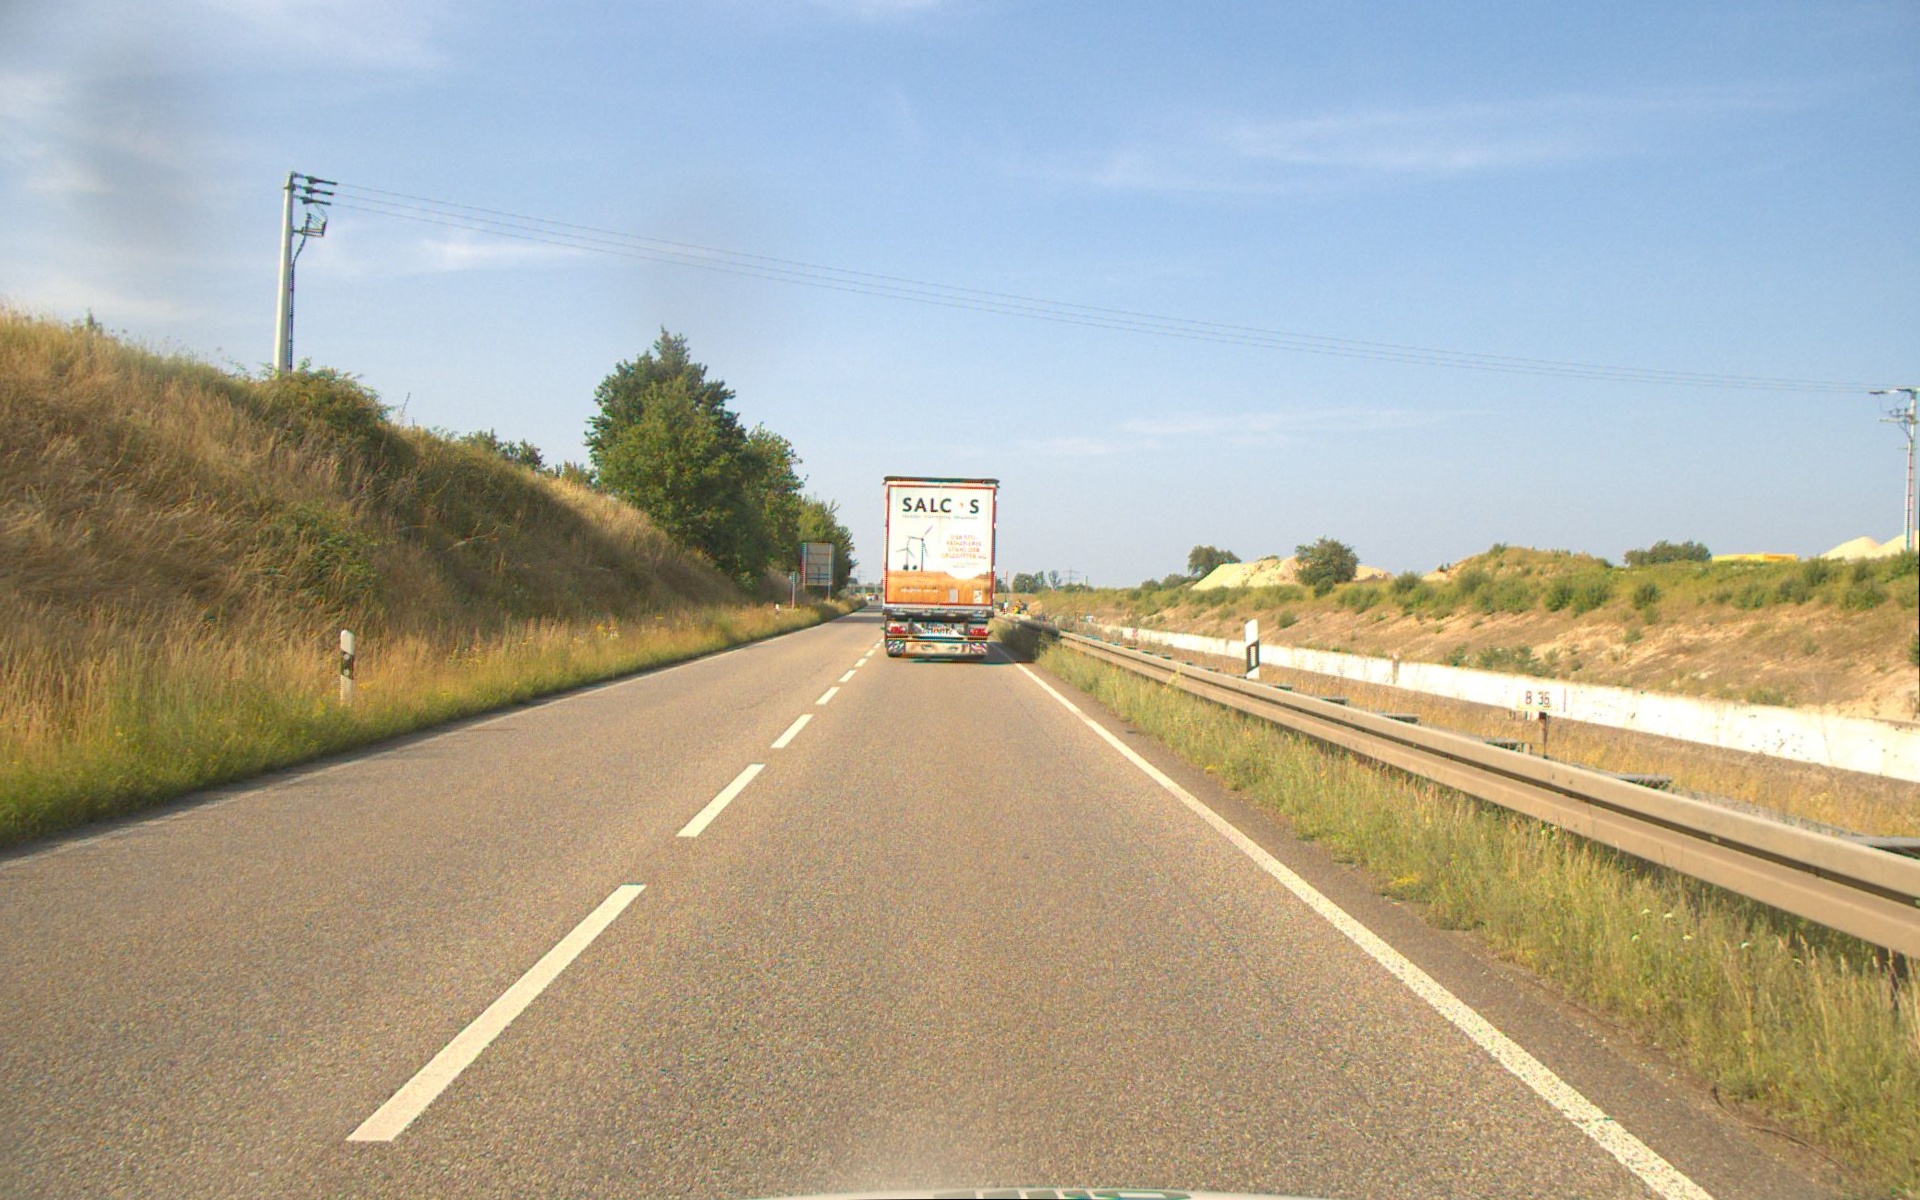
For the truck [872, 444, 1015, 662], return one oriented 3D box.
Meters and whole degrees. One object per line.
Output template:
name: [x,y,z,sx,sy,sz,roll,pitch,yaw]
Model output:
truck: [-0.554,-1.037,40.798,3.090,4.770,8.436,1,0,-3]
